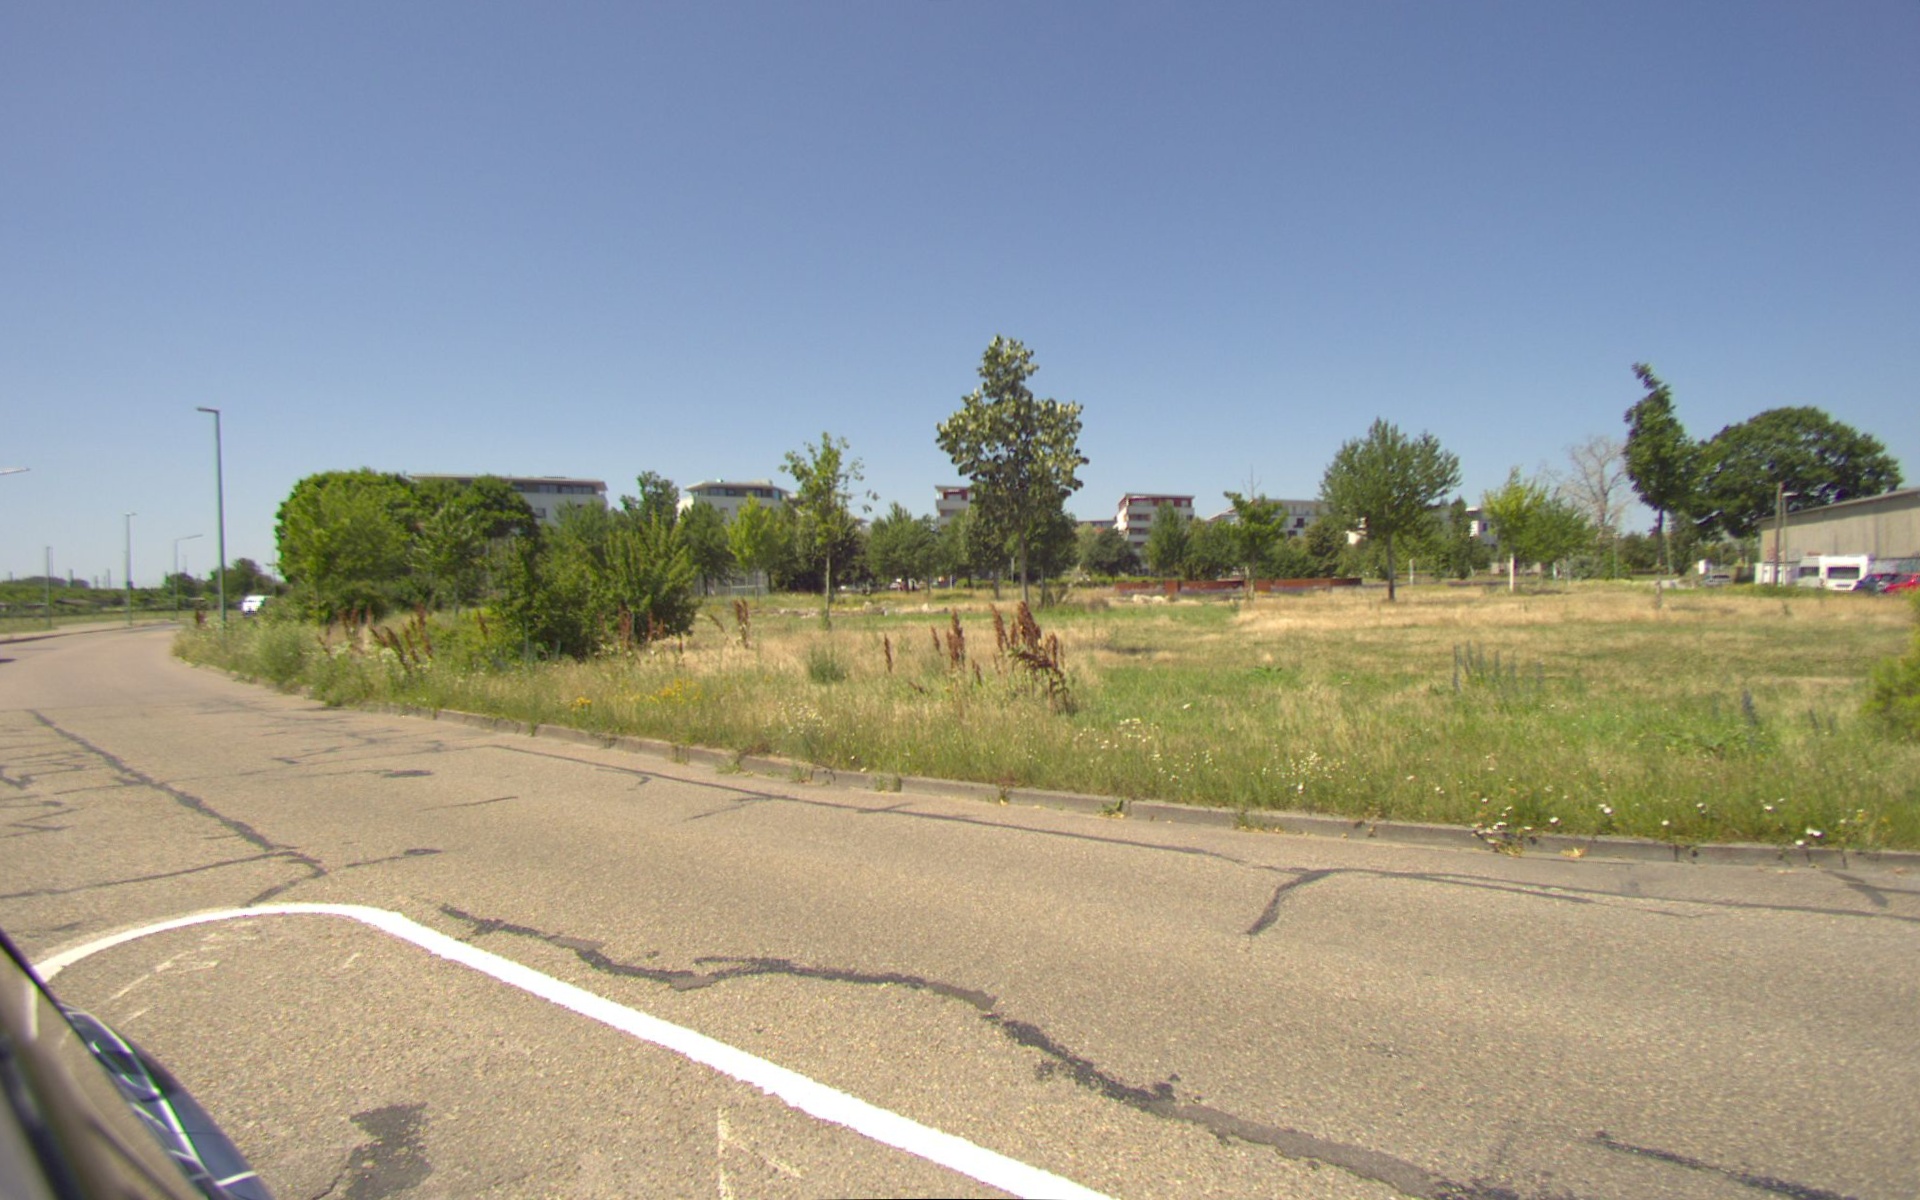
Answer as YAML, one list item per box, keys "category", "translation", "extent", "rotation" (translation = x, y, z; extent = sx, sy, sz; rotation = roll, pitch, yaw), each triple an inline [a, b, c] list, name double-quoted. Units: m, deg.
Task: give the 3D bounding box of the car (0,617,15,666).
- category: "car"
  translation: [-29.862, 1.285, 30.034]
  extent: [1.627, 1.477, 4.173]
  rotation: [-1, 0, -29]

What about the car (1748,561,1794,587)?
- category: "car"
  translation: [59.091, -1.894, 73.792]
  extent: [1.747, 1.785, 3.551]
  rotation: [-1, 0, 24]

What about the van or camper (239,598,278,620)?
- category: "van or camper"
  translation: [-85.393, 1.077, 123.298]
  extent: [2.106, 2.592, 5.883]
  rotation: [-2, 0, -16]

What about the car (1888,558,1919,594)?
- category: "car"
  translation: [48.265, -1.208, 50.519]
  extent: [1.747, 1.785, 3.551]
  rotation: [-1, 0, 24]

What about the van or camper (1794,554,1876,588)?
- category: "van or camper"
  translation: [53.030, -1.717, 61.484]
  extent: [2.344, 1.894, 5.019]
  rotation: [-1, 0, 24]

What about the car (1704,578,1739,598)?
- category: "car"
  translation: [66.077, -1.038, 87.862]
  extent: [1.582, 1.609, 3.551]
  rotation: [-1, 0, 24]
